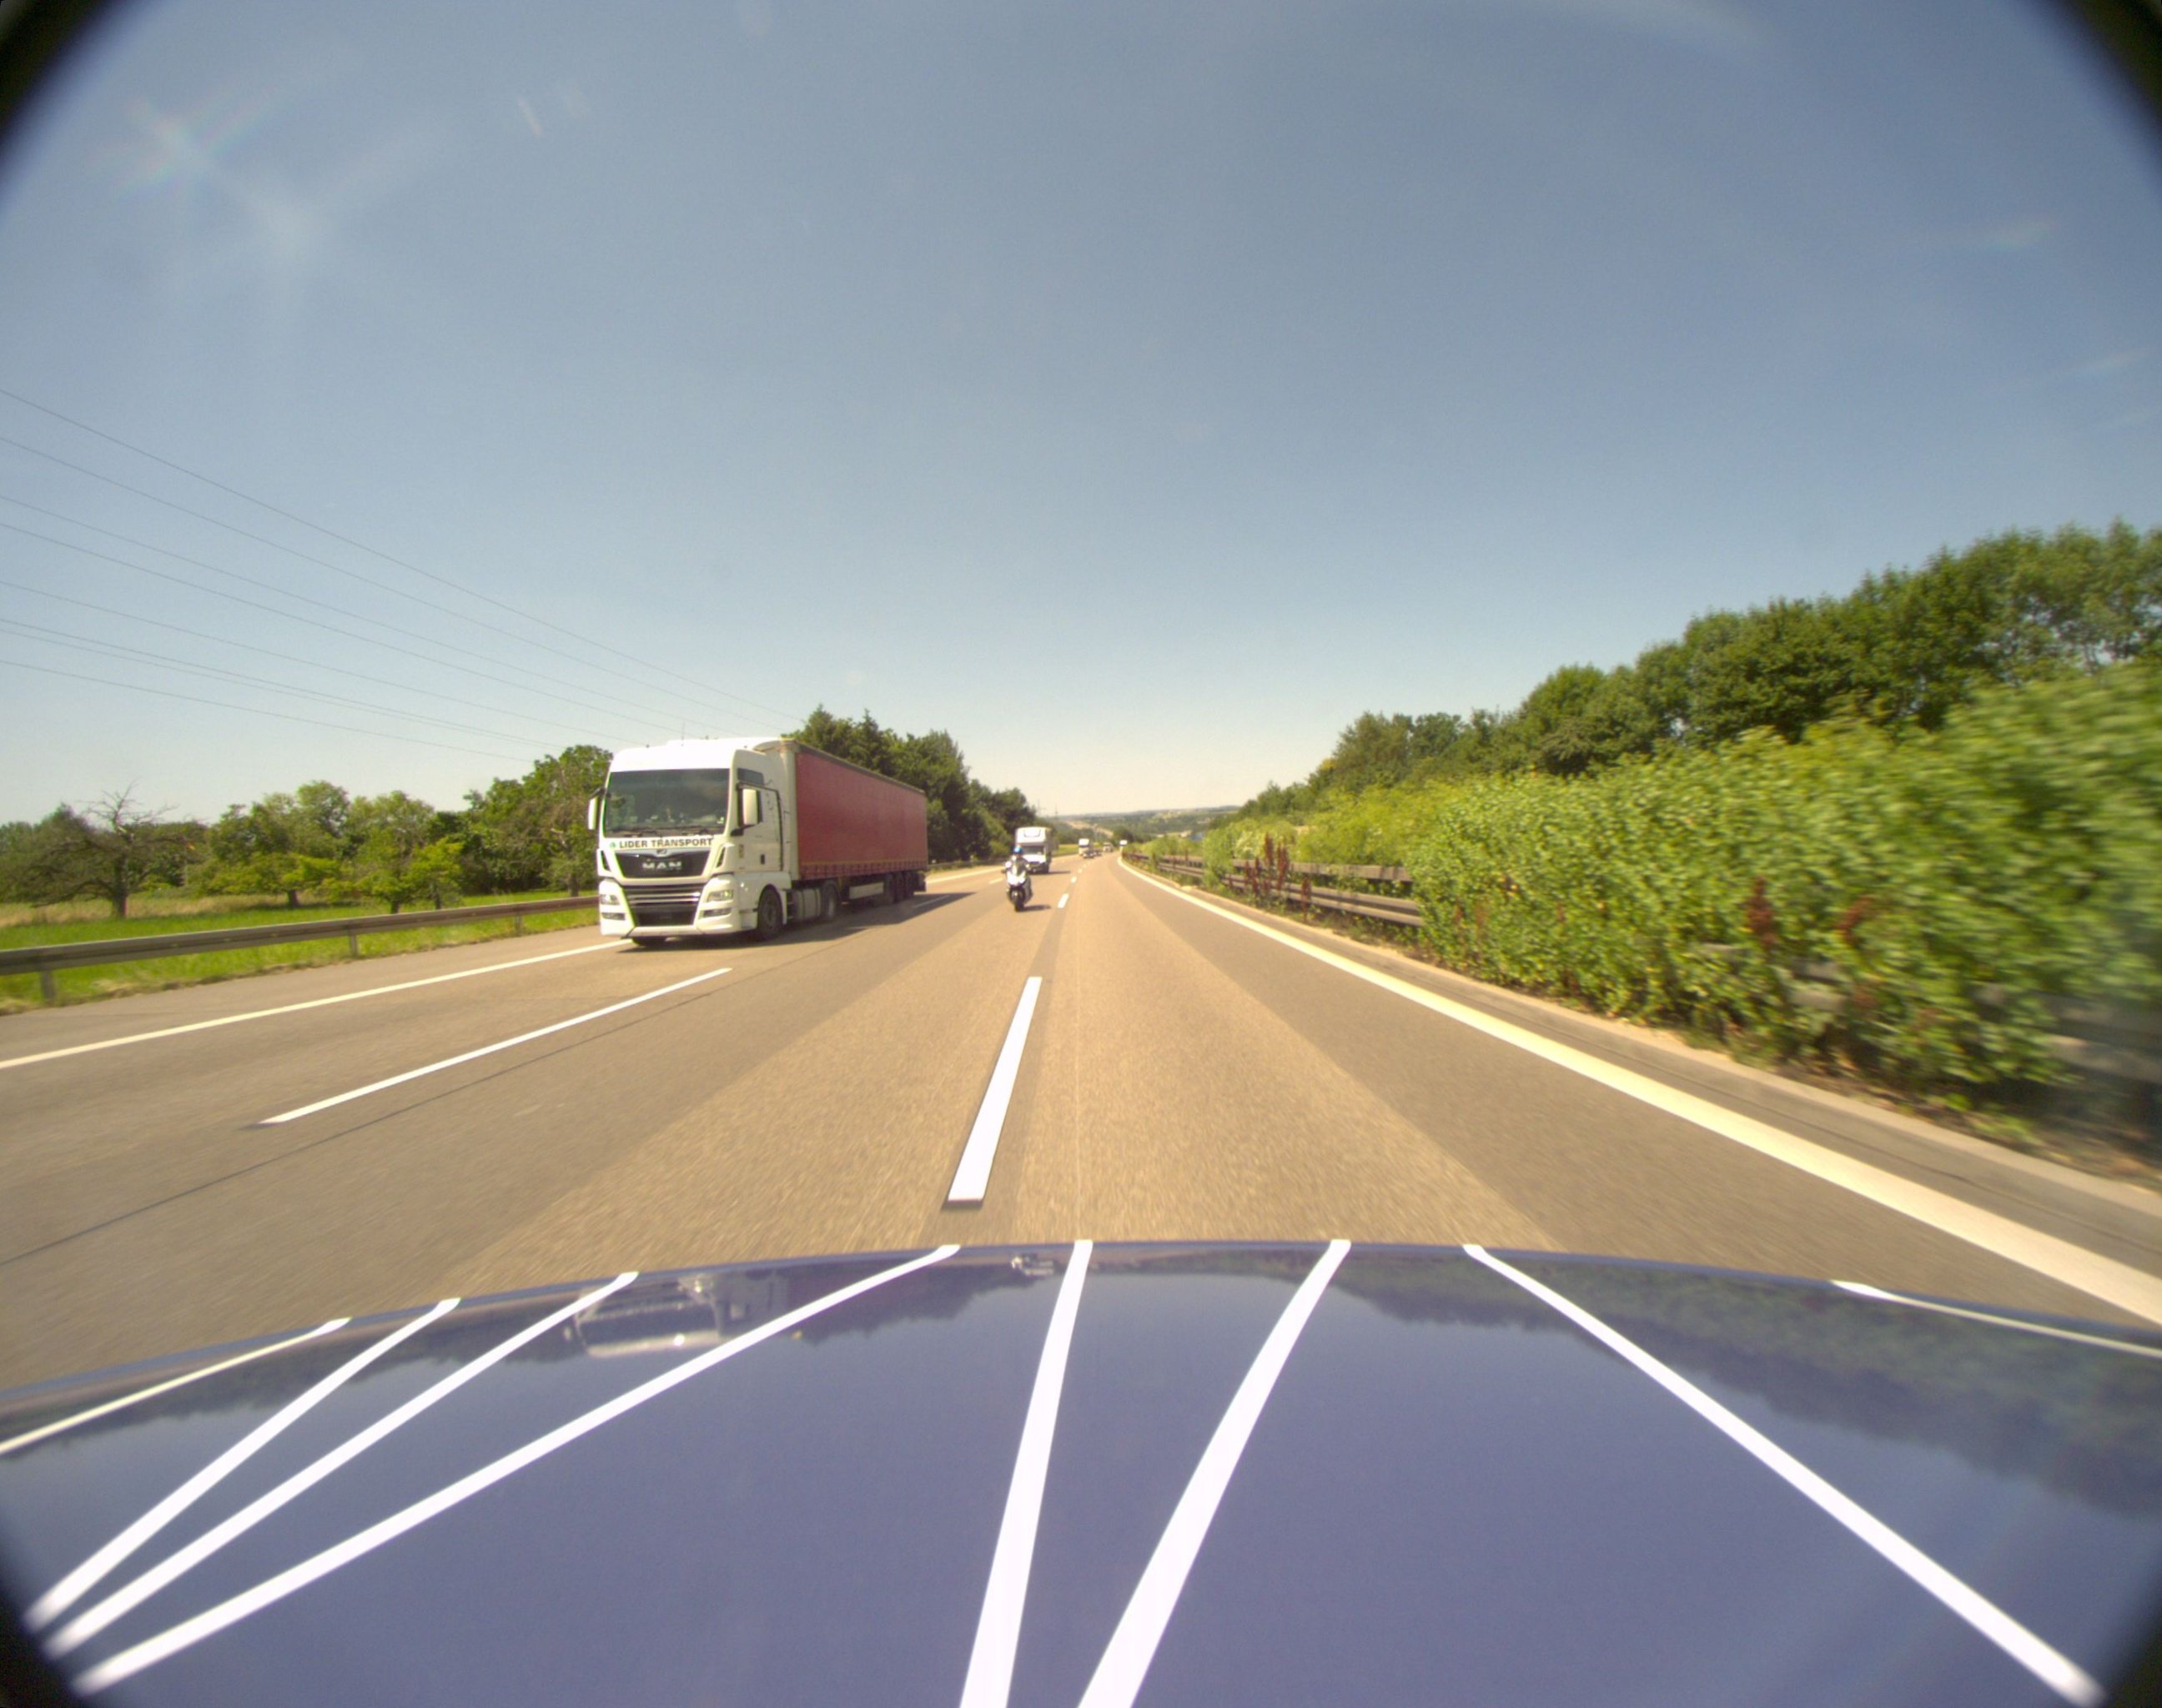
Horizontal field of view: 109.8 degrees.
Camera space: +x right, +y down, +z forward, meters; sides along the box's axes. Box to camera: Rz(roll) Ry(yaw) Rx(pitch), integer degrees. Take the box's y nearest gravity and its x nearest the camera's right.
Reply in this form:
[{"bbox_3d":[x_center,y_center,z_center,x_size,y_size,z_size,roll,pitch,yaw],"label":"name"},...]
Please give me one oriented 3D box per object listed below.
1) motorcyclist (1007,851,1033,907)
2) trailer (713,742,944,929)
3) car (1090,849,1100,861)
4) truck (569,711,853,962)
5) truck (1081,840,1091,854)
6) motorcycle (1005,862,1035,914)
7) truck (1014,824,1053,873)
[{"bbox_3d":[-1.670,0.670,20.867,0.613,1.499,0.513,-2,1,-2],"label":"motorcyclist"},{"bbox_3d":[-7.014,-0.501,24.118,2.607,4.239,13.032,-2,1,1],"label":"trailer"},{"bbox_3d":[2.501,0.215,135.917,1.704,1.958,4.000,-2,1,2],"label":"car"},{"bbox_3d":[-7.134,-0.321,15.858,2.567,4.130,6.248,-2,1,1],"label":"truck"},{"bbox_3d":[1.269,-1.774,198.171,2.591,3.444,5.961,-2,1,0],"label":"truck"},{"bbox_3d":[-1.643,0.892,20.709,0.631,1.279,2.312,-3,1,-2],"label":"motorcycle"},{"bbox_3d":[-3.349,-0.415,55.483,2.513,3.268,8.104,-1,1,-2],"label":"truck"}]
